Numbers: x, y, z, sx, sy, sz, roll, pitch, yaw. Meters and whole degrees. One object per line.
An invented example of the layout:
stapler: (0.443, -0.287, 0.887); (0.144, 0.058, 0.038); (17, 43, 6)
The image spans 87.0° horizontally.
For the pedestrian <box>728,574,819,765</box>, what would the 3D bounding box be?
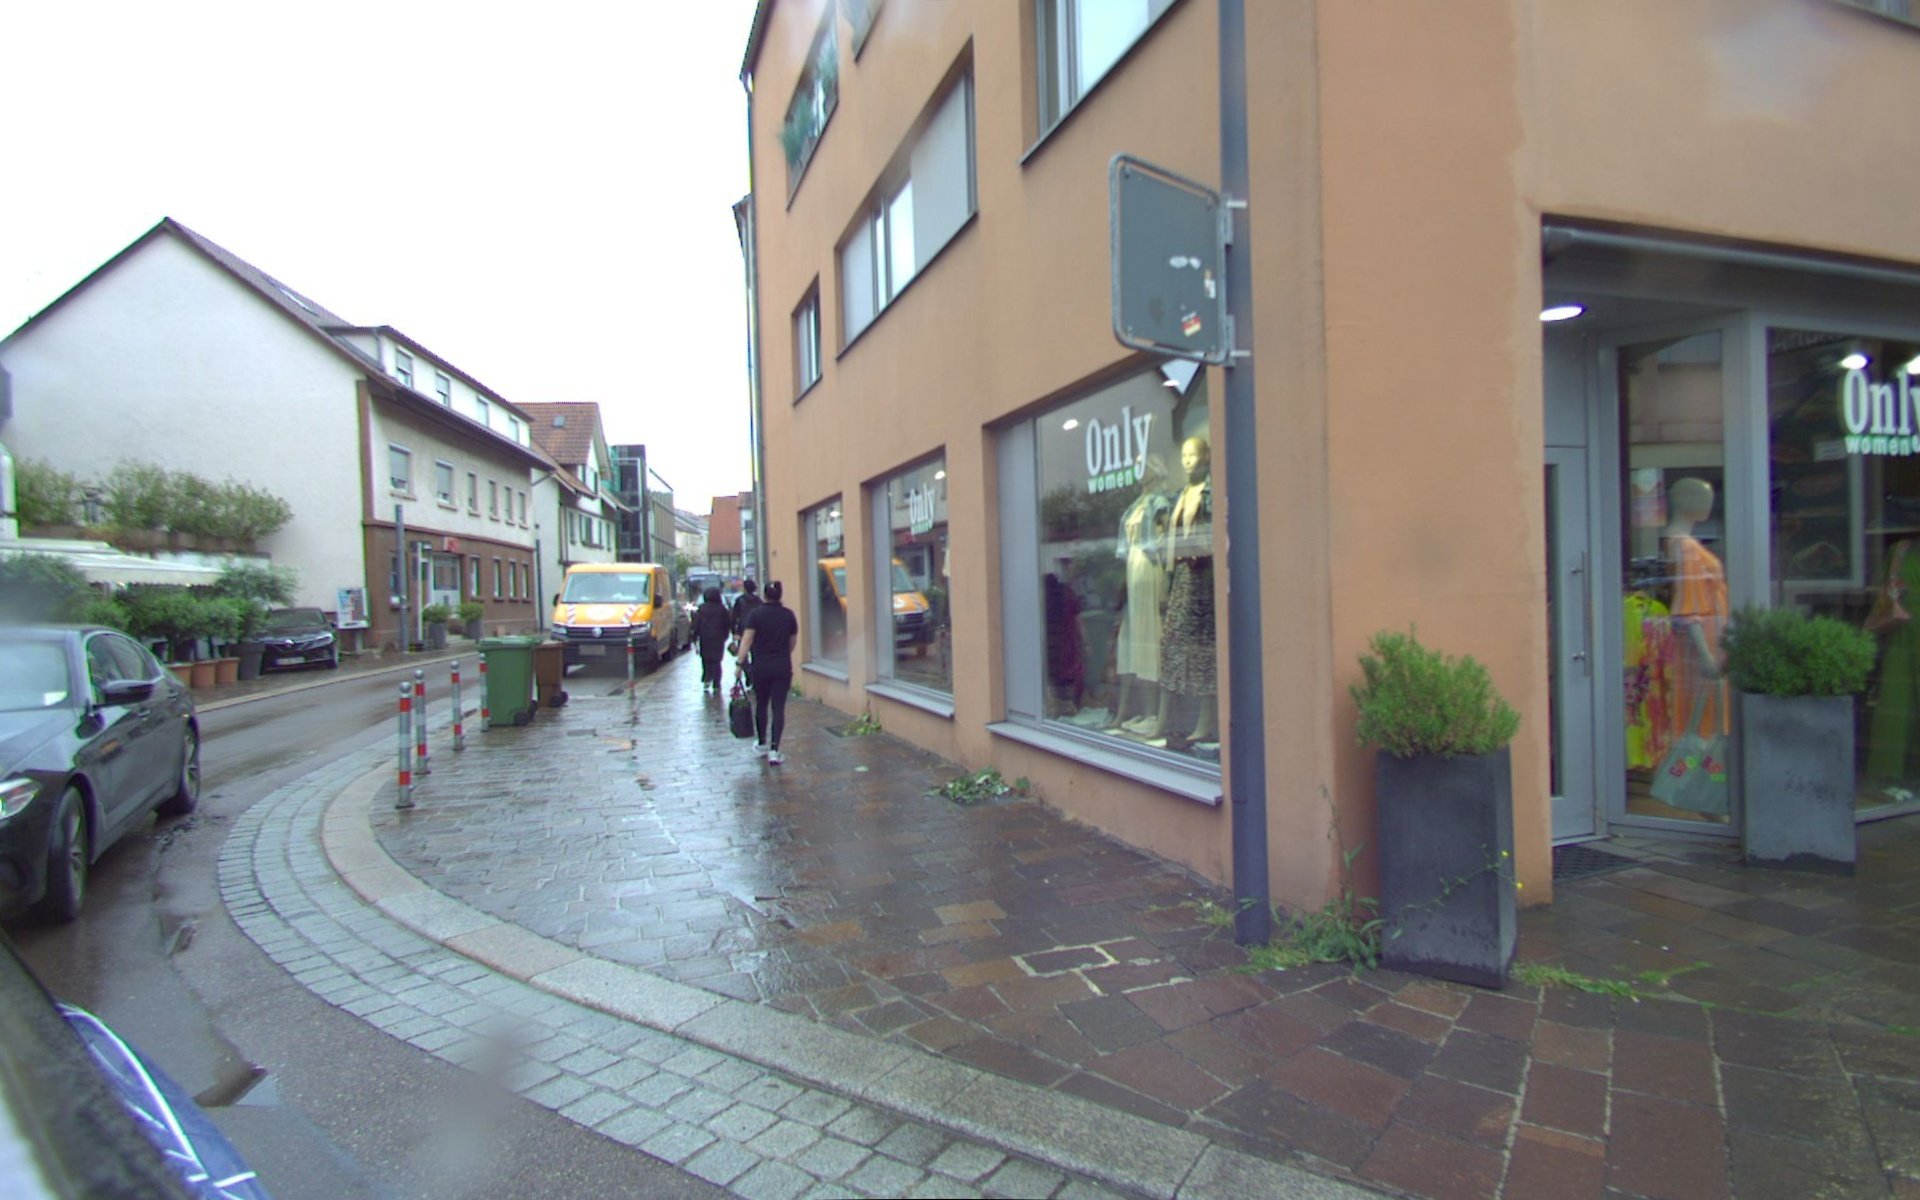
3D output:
pedestrian: (-1.688, 0.595, 9.097); (0.650, 1.622, 0.686); (-2, 0, -20)

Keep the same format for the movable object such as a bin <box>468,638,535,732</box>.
movable object such as a bin: (-5.529, 1.012, 12.232); (0.647, 1.044, 0.612); (-2, 1, -19)

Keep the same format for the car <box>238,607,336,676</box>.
car: (-15.346, 0.878, 23.220); (1.709, 1.367, 3.948); (-2, 1, -32)

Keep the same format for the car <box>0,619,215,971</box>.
car: (-5.869, 0.881, 5.789); (1.915, 1.413, 4.434); (-2, 1, -28)

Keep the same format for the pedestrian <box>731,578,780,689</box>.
pedestrian: (-3.336, 0.525, 16.443); (0.614, 1.725, 0.811); (-3, 1, -17)

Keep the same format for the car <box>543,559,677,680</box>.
car: (-7.480, 0.344, 22.209); (1.967, 2.256, 5.875); (-1, 1, -11)

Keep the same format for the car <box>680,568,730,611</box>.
car: (-19.008, -0.697, 75.891); (2.669, 2.895, 8.860); (-2, 0, -8)

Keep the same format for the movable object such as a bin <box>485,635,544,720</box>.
movable object such as a bin: (-5.875, 1.013, 13.375); (0.647, 1.044, 0.612); (-2, 0, -19)

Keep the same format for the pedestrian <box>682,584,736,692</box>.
pedestrian: (-4.030, 0.585, 16.225); (0.705, 1.651, 0.748); (-3, 1, -17)

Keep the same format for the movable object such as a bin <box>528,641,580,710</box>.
movable object such as a bin: (-5.854, 1.077, 14.613); (0.574, 0.934, 0.482); (-2, 1, -9)
